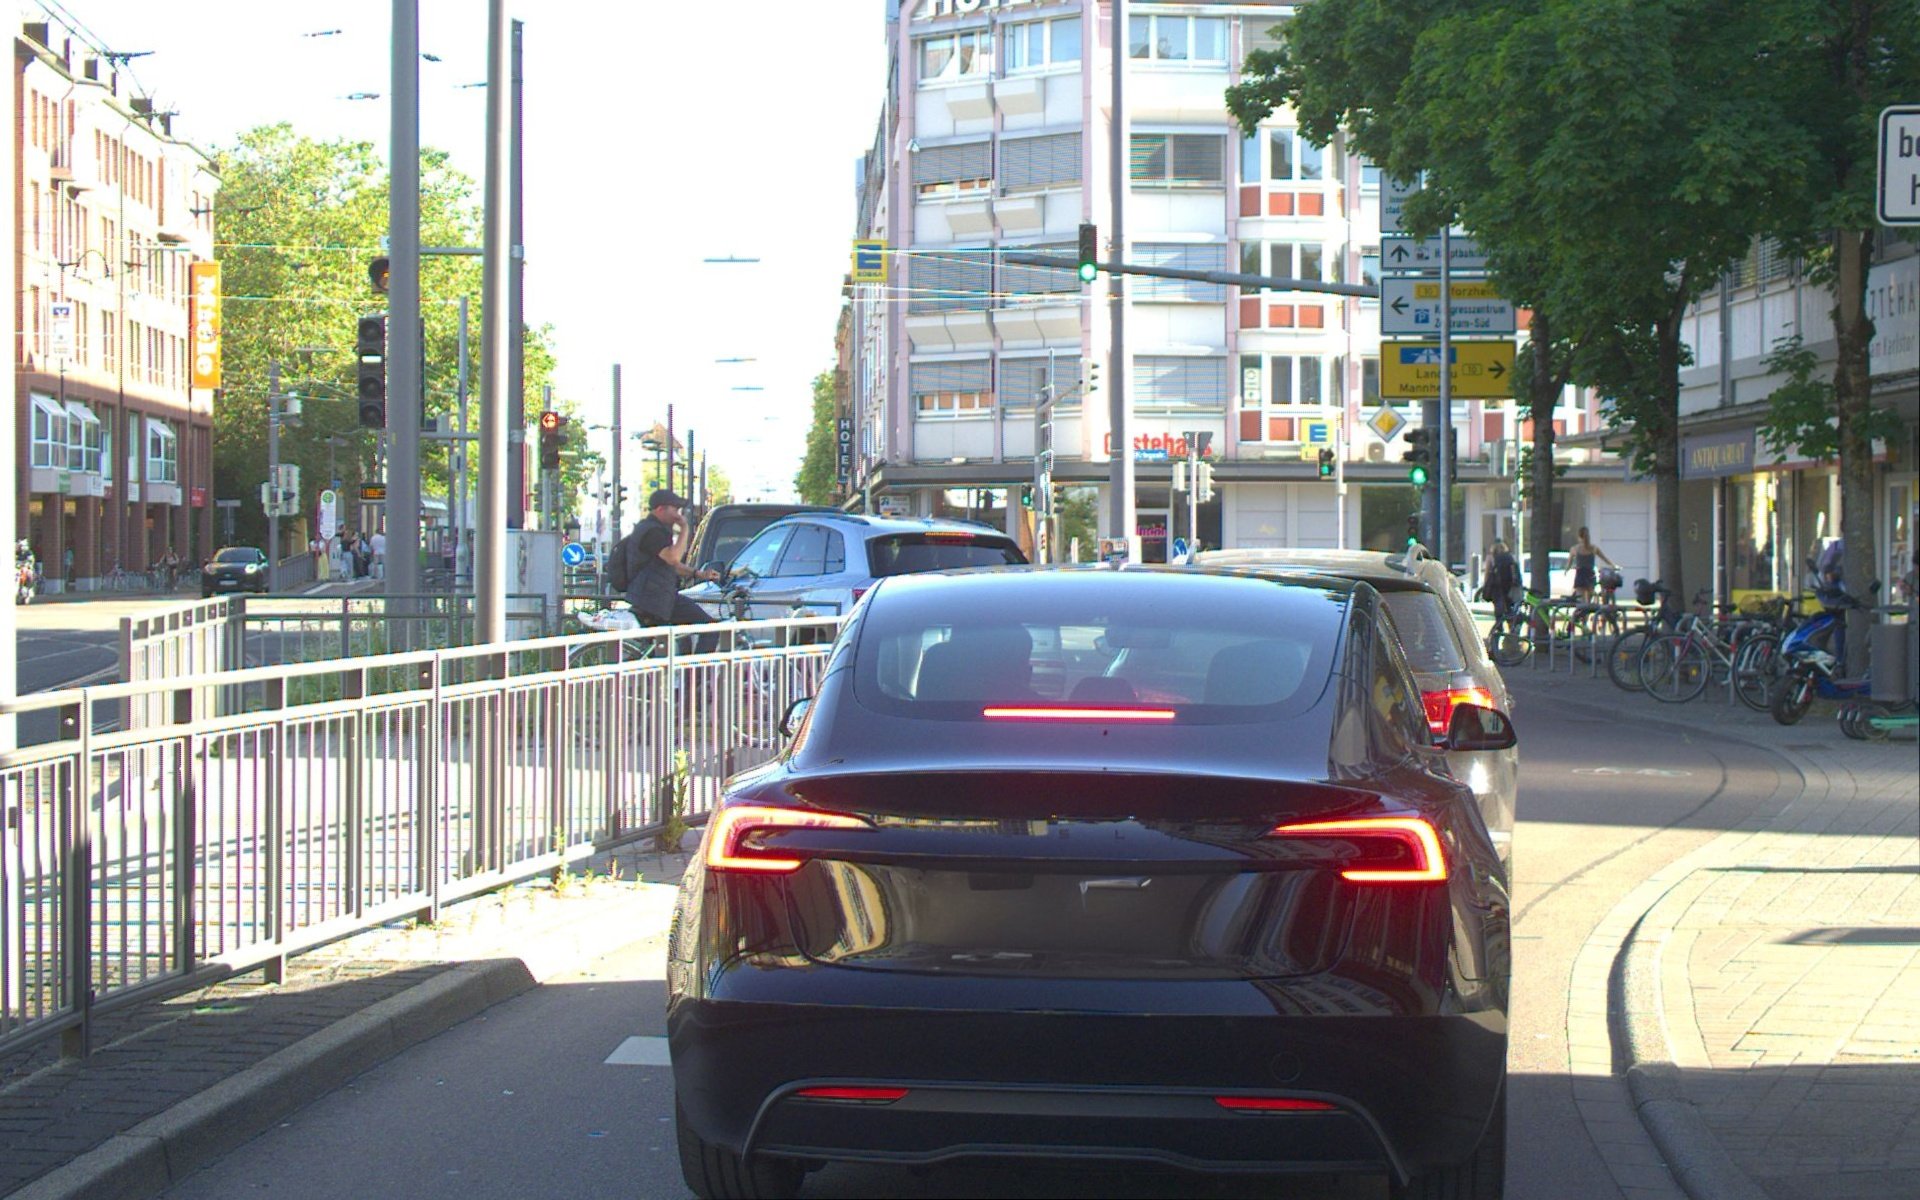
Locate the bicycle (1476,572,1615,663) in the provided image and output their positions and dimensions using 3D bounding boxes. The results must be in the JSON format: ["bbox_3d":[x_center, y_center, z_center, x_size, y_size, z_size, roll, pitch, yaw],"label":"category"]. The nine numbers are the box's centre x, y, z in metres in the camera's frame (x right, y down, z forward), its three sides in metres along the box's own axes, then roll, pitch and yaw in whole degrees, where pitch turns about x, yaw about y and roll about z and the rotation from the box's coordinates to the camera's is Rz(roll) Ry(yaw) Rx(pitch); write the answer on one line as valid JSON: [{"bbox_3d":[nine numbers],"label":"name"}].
[{"bbox_3d":[7.232,0.217,42.476,1.650,1.095,0.350,1,0,1],"label":"bicycle"}]

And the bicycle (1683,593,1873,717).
[{"bbox_3d":[7.385,0.493,31.023,1.649,1.095,0.350,1,0,-10],"label":"bicycle"}]

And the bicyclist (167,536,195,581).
[{"bbox_3d":[-27.510,-1.460,121.358,0.784,1.558,0.746,1,0,2],"label":"bicyclist"}]

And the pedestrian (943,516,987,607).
[{"bbox_3d":[0.107,-0.854,76.162,0.921,2.007,0.972,1,0,-1],"label":"pedestrian"}]

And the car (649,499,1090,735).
[{"bbox_3d":[-0.792,0.097,26.489,1.883,1.656,4.159,1,1,-25],"label":"car"}]

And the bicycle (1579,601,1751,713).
[{"bbox_3d":[7.048,0.569,34.371,1.649,1.095,0.350,1,0,-10],"label":"bicycle"}]

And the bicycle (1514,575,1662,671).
[{"bbox_3d":[7.363,0.265,40.336,1.650,1.095,0.350,1,0,1],"label":"bicycle"}]

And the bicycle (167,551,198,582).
[{"bbox_3d":[-27.506,-1.170,121.577,0.529,1.085,2.224,1,1,1],"label":"bicycle"}]

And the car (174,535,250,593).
[{"bbox_3d":[-23.000,-1.110,105.785,1.697,1.725,3.707,1,1,-3],"label":"car"}]

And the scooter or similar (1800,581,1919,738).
[{"bbox_3d":[7.559,0.470,27.185,1.644,1.211,0.644,1,0,30],"label":"scooter or similar"}]

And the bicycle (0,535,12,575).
[{"bbox_3d":[-26.399,-1.237,93.498,0.529,1.085,2.284,1,1,1],"label":"bicycle"}]

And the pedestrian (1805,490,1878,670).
[{"bbox_3d":[9.964,-0.224,38.859,0.662,2.007,0.579,1,0,2],"label":"pedestrian"}]

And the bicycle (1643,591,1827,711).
[{"bbox_3d":[7.183,0.473,31.869,1.649,1.095,0.350,1,0,-10],"label":"bicycle"}]

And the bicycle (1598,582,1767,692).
[{"bbox_3d":[7.419,0.375,35.344,1.650,1.095,0.350,1,0,1],"label":"bicycle"}]

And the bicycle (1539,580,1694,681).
[{"bbox_3d":[7.311,0.339,38.297,1.650,1.095,0.350,1,0,1],"label":"bicycle"}]

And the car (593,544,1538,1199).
[{"bbox_3d":[0.349,0.610,8.710,1.829,1.450,3.999,1,1,4],"label":"car"}]

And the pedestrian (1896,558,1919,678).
[{"bbox_3d":[10.783,0.196,38.631,0.389,1.339,0.513,1,0,2],"label":"pedestrian"}]

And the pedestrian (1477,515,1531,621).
[{"bbox_3d":[8.594,-0.500,54.328,0.699,1.656,0.777,1,0,-1],"label":"pedestrian"}]

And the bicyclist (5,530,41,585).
[{"bbox_3d":[-26.375,-1.198,96.767,0.784,1.558,0.746,0,1,2],"label":"bicyclist"}]

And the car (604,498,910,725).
[{"bbox_3d":[-1.997,0.074,32.569,1.993,2.007,4.001,0,1,-17],"label":"car"}]

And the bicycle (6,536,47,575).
[{"bbox_3d":[-26.440,-1.257,97.420,0.529,1.085,2.225,0,1,1],"label":"bicycle"}]

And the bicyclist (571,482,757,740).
[{"bbox_3d":[-1.916,0.063,22.170,0.758,1.623,0.978,0,1,-39],"label":"bicyclist"}]

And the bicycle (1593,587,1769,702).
[{"bbox_3d":[7.001,0.430,33.396,1.649,1.095,0.350,1,0,-10],"label":"bicycle"}]

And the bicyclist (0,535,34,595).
[{"bbox_3d":[-24.102,-0.901,87.628,0.785,1.522,0.589,1,0,4],"label":"bicyclist"}]

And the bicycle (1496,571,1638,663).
[{"bbox_3d":[7.300,0.208,41.382,1.650,1.095,0.350,0,1,1],"label":"bicycle"}]

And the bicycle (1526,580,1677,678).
[{"bbox_3d":[7.331,0.325,39.323,1.650,1.095,0.350,1,0,1],"label":"bicycle"}]

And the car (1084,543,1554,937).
[{"bbox_3d":[1.557,0.491,14.999,1.751,1.449,3.999,1,1,6],"label":"car"}]

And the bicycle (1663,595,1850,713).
[{"bbox_3d":[7.288,0.493,31.445,1.649,1.057,0.350,1,0,-10],"label":"bicycle"}]

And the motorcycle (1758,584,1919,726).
[{"bbox_3d":[7.716,0.464,29.216,1.707,1.169,0.541,1,0,-2],"label":"motorcycle"}]

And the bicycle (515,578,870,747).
[{"bbox_3d":[-1.721,0.396,22.404,2.329,1.050,0.631,0,1,-38],"label":"bicycle"}]

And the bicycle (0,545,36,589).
[{"bbox_3d":[-24.139,-0.842,87.623,0.459,1.089,2.201,1,1,4],"label":"bicycle"}]

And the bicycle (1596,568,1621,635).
[{"bbox_3d":[10.220,0.017,54.216,0.332,1.030,1.256,1,0,9],"label":"bicycle"}]

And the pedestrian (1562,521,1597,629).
[{"bbox_3d":[9.836,-0.401,54.581,0.526,1.704,0.403,1,0,12],"label":"pedestrian"}]
